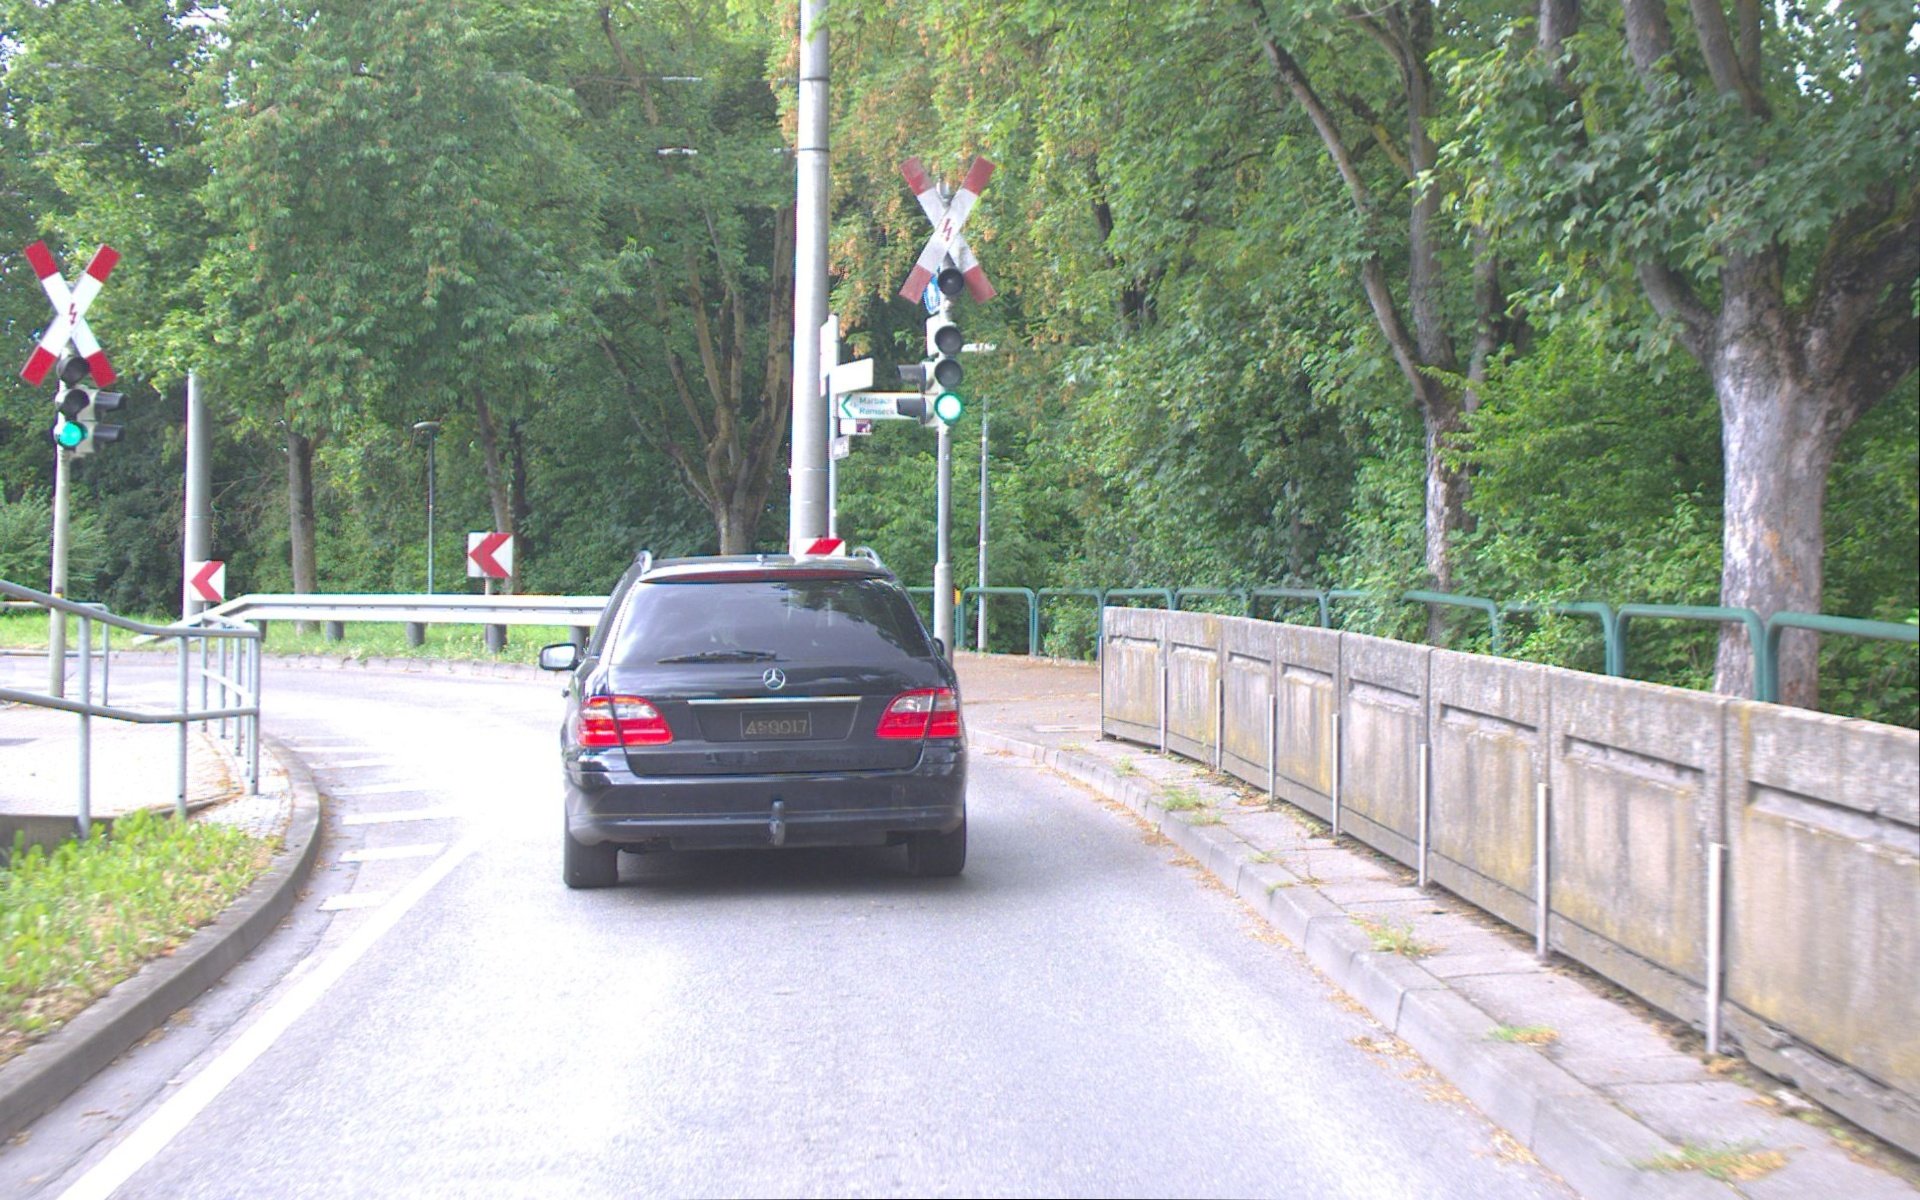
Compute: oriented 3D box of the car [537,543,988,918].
[{"bbox_3d":[-1.054,0.516,16.212,1.781,1.520,4.001,-1,1,-8],"label":"car"}]
